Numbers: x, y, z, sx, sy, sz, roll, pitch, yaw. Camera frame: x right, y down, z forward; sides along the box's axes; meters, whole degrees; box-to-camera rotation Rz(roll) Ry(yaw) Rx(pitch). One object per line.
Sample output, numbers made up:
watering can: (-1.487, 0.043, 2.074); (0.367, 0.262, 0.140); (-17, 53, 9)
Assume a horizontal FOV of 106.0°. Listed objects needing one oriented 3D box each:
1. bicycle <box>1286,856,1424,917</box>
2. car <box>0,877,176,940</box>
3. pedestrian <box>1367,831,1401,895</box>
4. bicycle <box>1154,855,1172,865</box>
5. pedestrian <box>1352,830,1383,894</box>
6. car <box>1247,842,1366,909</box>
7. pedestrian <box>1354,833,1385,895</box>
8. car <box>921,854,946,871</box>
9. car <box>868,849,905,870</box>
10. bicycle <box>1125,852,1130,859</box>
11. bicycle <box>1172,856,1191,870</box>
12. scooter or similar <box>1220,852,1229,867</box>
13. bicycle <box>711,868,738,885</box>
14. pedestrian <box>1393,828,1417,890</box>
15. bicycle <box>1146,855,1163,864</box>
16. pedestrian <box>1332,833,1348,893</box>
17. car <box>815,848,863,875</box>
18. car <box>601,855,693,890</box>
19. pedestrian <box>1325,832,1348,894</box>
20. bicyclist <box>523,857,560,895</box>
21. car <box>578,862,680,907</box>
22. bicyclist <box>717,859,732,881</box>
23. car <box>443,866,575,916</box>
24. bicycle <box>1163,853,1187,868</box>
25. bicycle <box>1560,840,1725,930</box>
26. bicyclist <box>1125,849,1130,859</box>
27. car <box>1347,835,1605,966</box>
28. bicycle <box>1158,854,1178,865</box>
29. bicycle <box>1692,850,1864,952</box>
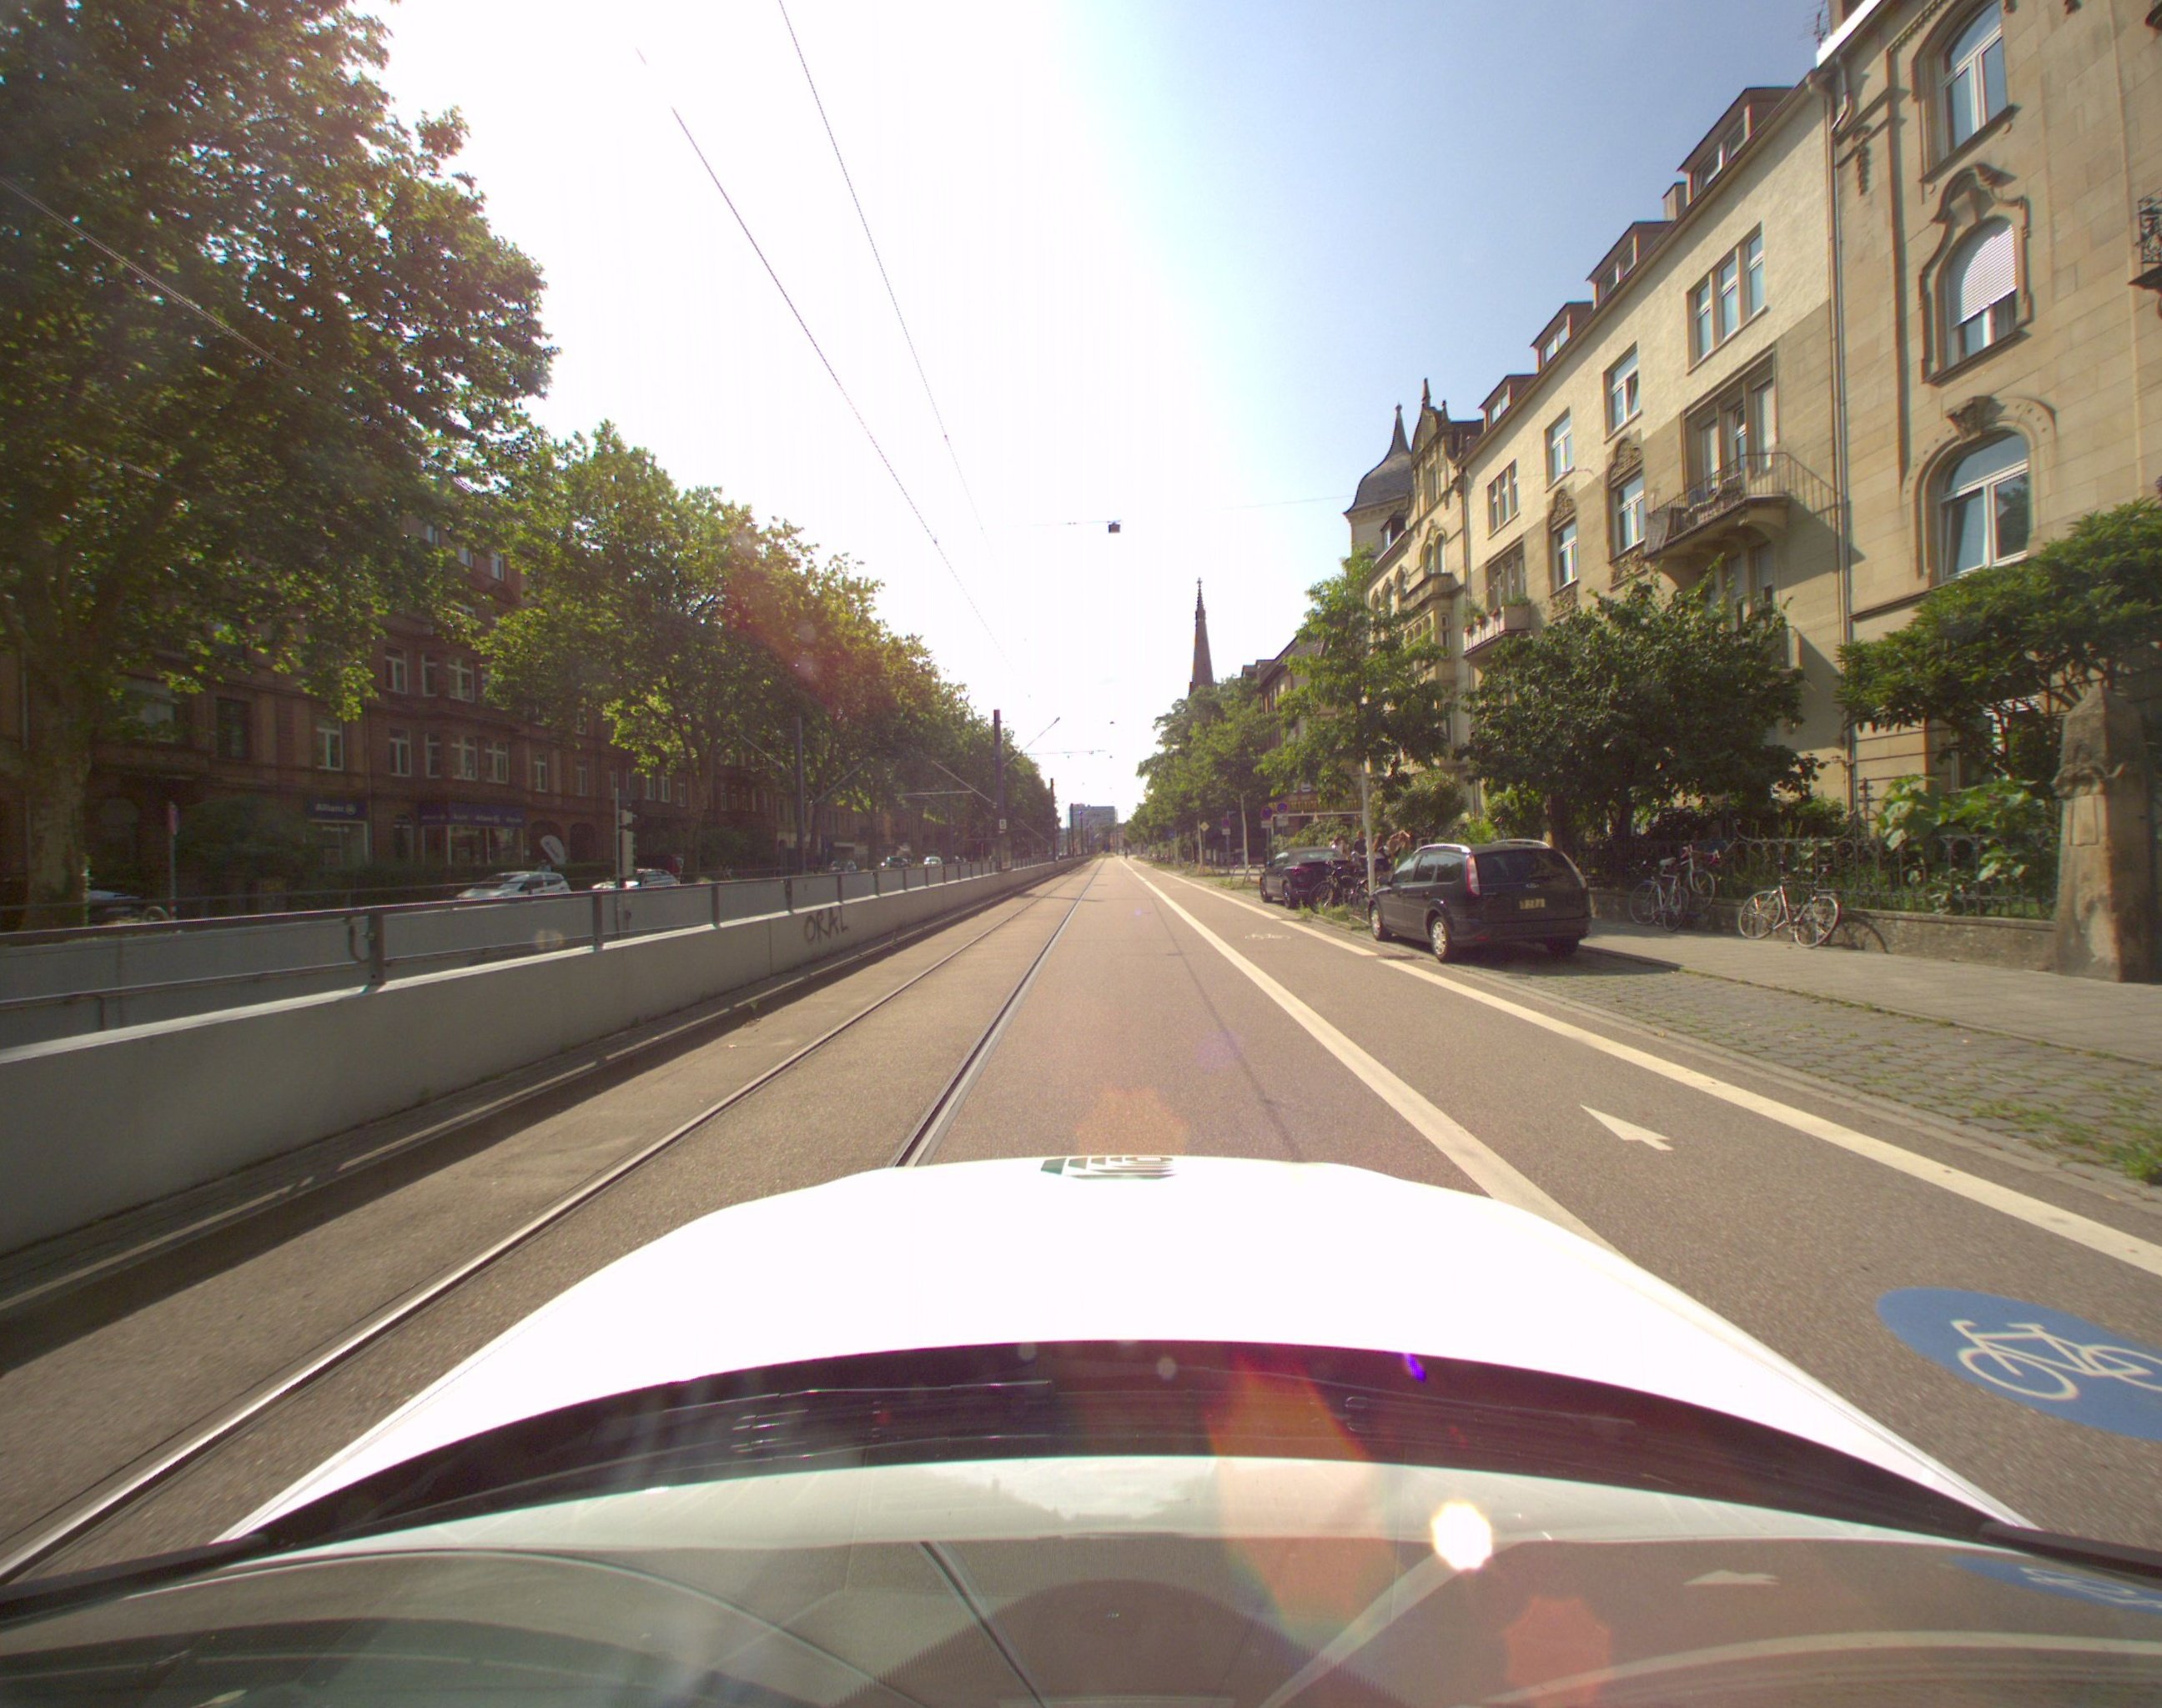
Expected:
bicycle: (6.229, 0.714, 18.530); (2.947, 1.246, 0.790); (-2, 0, -11)
car: (-27.220, 1.444, 21.754); (3.969, 1.483, 2.002); (-2, 0, 4)
pedestrian: (8.260, 0.241, 22.214); (0.530, 1.676, 0.571); (-4, 0, -17)
bicycle: (8.633, 0.641, 85.744); (1.811, 0.902, 0.603); (-4, 0, -2)
pedestrian: (8.404, 0.227, 23.906); (0.667, 1.804, 0.319); (-4, 0, 0)
car: (5.948, 0.515, 22.059); (1.793, 1.526, 4.486); (-4, 0, -1)
pedestrian: (8.187, 0.289, 23.117); (0.502, 1.706, 0.493); (-4, 0, -17)
car: (-16.462, 0.915, 91.236); (1.832, 1.727, 4.002); (-4, 0, 2)
car: (-17.369, 0.480, 73.056); (1.985, 1.636, 4.005); (-4, 0, 4)
bicycle: (8.411, 0.305, 147.216); (0.796, 1.237, 2.779); (-2, 0, 3)
bicycle: (7.757, 0.684, 62.996); (0.651, 1.038, 1.810); (-4, 0, -19)
scooter or similar: (11.334, 0.402, 64.211); (0.459, 1.158, 1.574); (-3, 0, 3)
bicycle: (-20.893, 1.313, 47.753); (0.533, 0.913, 2.150); (-2, 0, 2)
pedestrian: (9.265, 0.141, 23.299); (0.382, 1.706, 0.431); (-4, 0, 2)
bicycle: (8.746, 0.641, 97.014); (1.811, 0.902, 0.603); (-4, 0, -2)
pedestrian: (7.495, 0.265, 23.601); (0.316, 1.706, 0.462); (-4, 0, 16)
car: (-17.244, 0.515, 58.163); (1.708, 1.691, 3.739); (-4, 1, 8)
car: (-25.994, 1.079, 48.870); (4.387, 1.918, 2.000); (-2, 0, 0)
pedestrian: (7.694, 0.271, 24.497); (0.457, 1.804, 0.319); (-4, 0, 0)
bicyclist: (-21.418, 0.860, 32.350); (0.686, 1.455, 1.045); (-2, 0, 2)
car: (-18.004, 1.165, 32.658); (1.637, 1.482, 4.003); (-4, 0, 2)
bicyclist: (-20.902, 0.940, 47.720); (0.533, 1.232, 0.724); (-2, 0, 2)
car: (-18.231, 1.143, 26.147); (1.490, 1.303, 3.495); (-4, 0, 4)
bicycle: (7.849, 0.520, 68.173); (1.816, 1.145, 0.649); (-4, 0, -9)
bicycle: (8.965, 0.444, 13.213); (0.655, 1.248, 2.944); (-5, 0, 2)
bicyclist: (8.403, 0.026, 147.203); (0.767, 1.730, 1.027); (-2, 0, 2)
car: (5.461, 0.552, 12.045); (1.679, 1.502, 4.711); (-2, 0, 3)
bicycle: (8.619, 0.529, 80.805); (1.811, 0.902, 0.651); (-4, 0, -2)
bicycle: (8.762, 0.533, 10.359); (0.426, 1.140, 2.024); (-5, 0, 2)
